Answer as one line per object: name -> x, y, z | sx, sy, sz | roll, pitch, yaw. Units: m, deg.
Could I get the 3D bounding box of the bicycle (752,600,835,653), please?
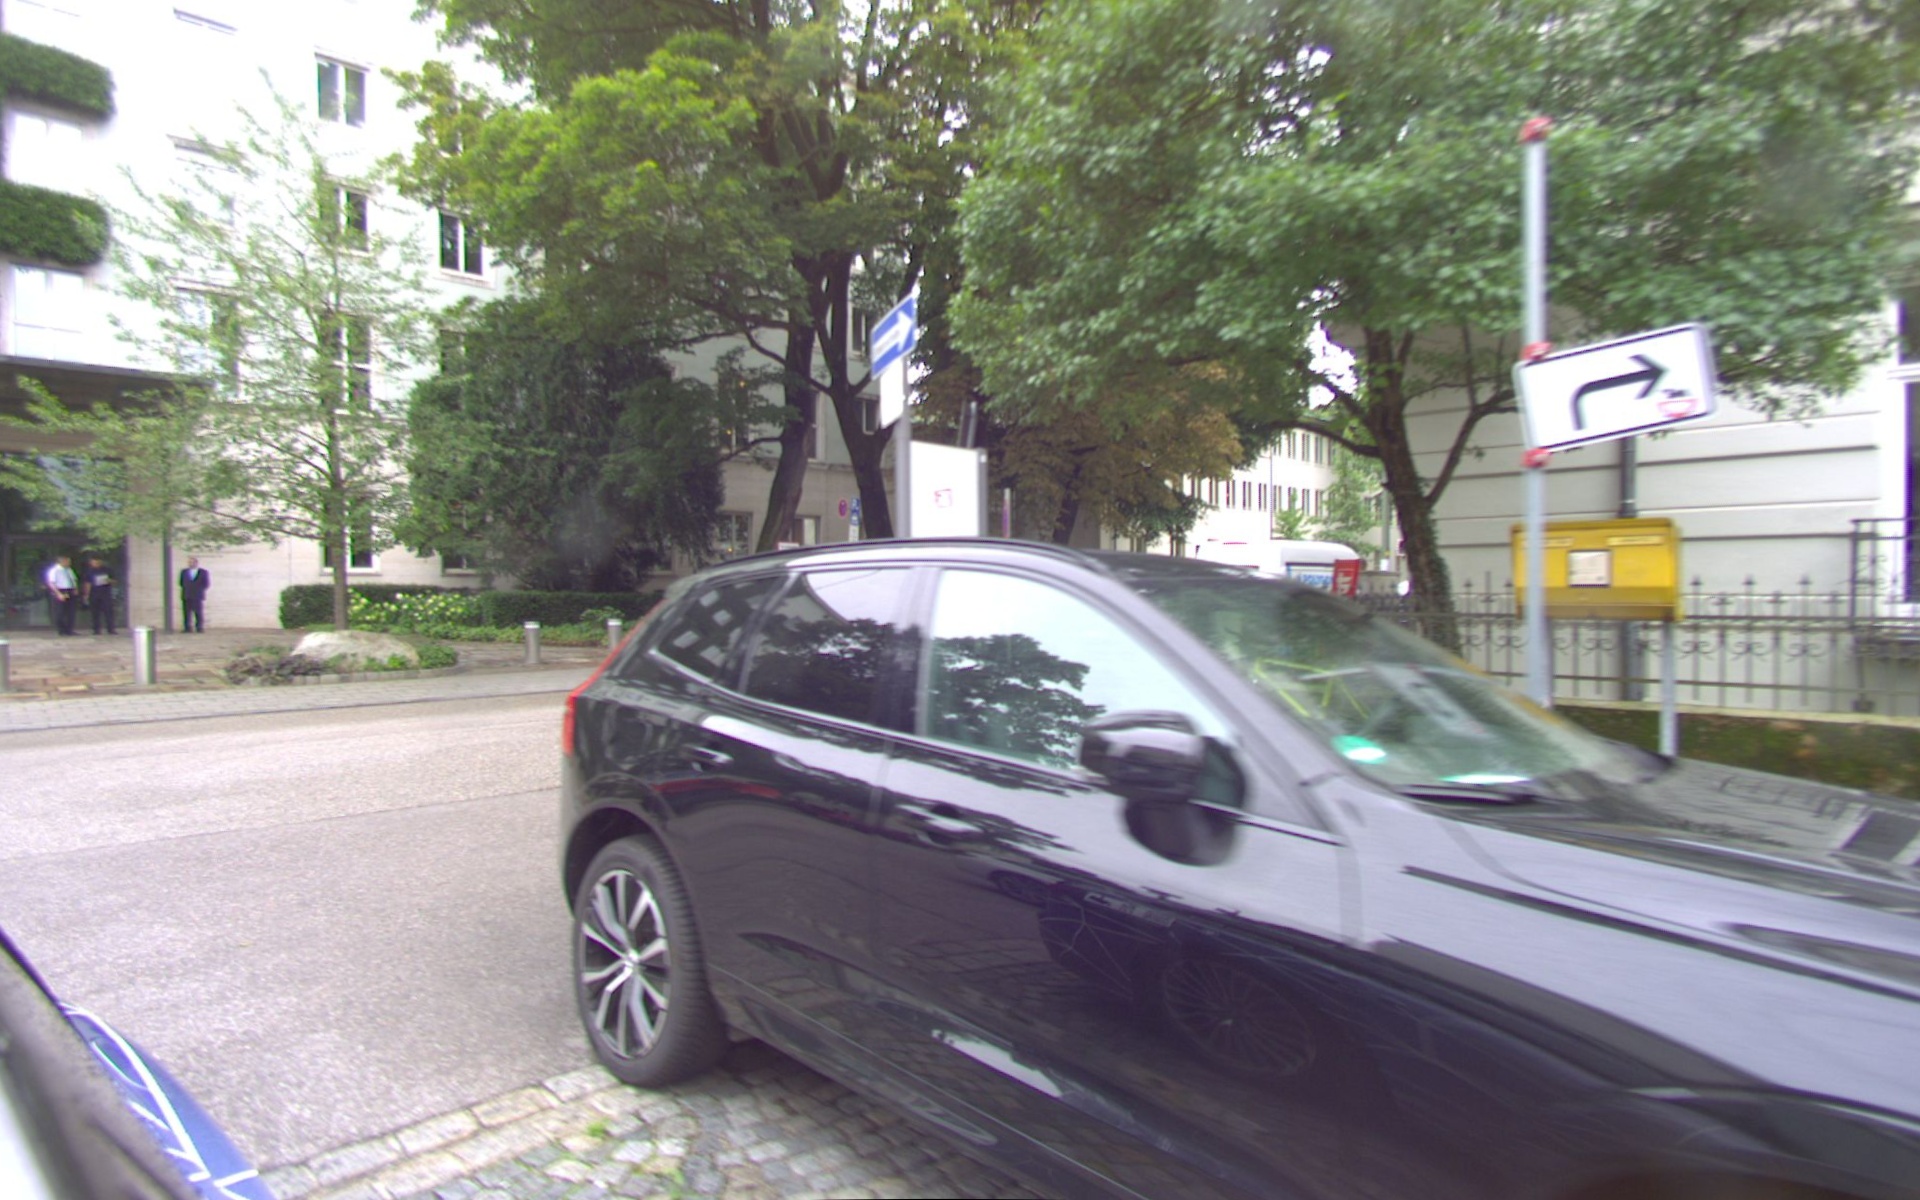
bicycle -> -3.631, 0.560, 22.151 | 1.740, 1.111, 0.635 | 0, 1, -42

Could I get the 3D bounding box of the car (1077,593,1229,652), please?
car -> 5.133, 0.530, 26.711 | 2.220, 1.339, 3.892 | 2, 2, 43

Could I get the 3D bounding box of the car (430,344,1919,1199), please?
car -> 0.572, 0.612, 2.666 | 5.055, 1.664, 1.916 | 1, -3, 44

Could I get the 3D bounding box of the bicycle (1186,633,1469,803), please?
bicycle -> 2.638, 0.796, 7.482 | 0.548, 1.036, 1.932 | -2, 1, -41

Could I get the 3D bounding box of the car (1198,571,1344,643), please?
car -> 9.441, 0.156, 30.470 | 2.191, 1.971, 5.093 | 2, 2, 43

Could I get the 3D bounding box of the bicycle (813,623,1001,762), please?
bicycle -> -0.418, 0.783, 9.384 | 0.653, 1.036, 2.179 | -1, 1, 30

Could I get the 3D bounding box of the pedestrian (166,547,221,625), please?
pedestrian -> -17.968, -0.317, 23.716 | 0.752, 1.766, 0.889 | 0, -1, 41

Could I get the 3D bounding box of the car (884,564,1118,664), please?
car -> 1.052, 0.219, 22.536 | 2.255, 1.971, 5.376 | 2, 2, 43

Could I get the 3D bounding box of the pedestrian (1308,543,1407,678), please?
pedestrian -> 5.278, 0.135, 13.442 | 0.960, 1.702, 0.861 | -1, -1, -42

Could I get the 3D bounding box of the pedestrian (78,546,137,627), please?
pedestrian -> -19.024, -0.298, 22.588 | 0.752, 1.766, 0.889 | 0, -1, 41

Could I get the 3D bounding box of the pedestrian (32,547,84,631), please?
pedestrian -> -19.511, -0.246, 21.895 | 0.901, 1.766, 0.742 | 0, 1, 43

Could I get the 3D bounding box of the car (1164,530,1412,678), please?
car -> 5.844, 0.073, 17.686 | 2.212, 2.225, 4.785 | -2, -1, 44

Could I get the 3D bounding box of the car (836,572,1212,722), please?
car -> 0.935, 0.495, 12.897 | 4.516, 1.558, 2.283 | 0, -1, -42
